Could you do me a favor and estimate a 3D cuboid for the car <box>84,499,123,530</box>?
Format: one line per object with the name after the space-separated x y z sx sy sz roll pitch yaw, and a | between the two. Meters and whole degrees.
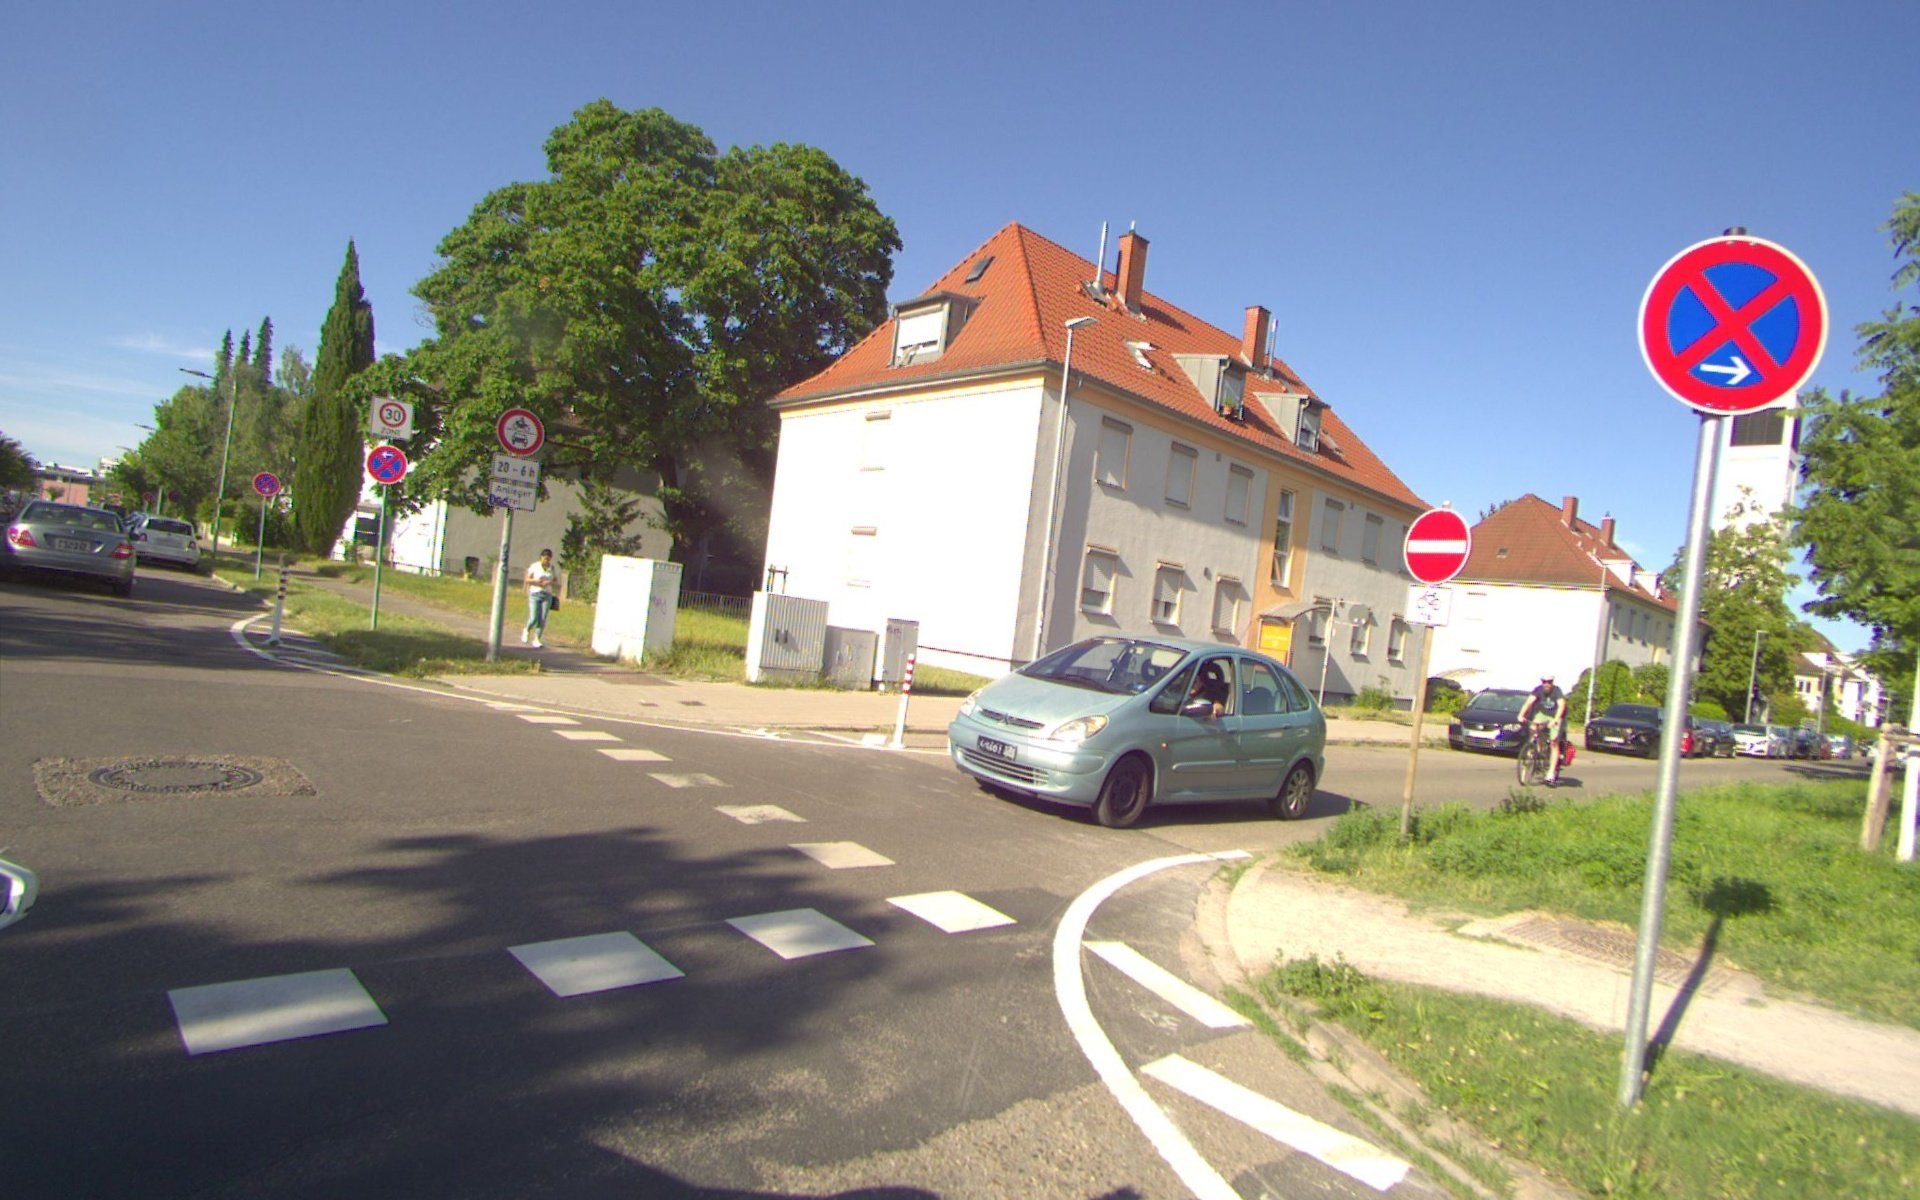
-60.745 -6.052 71.355 1.849 1.863 3.951 7 0 -43 | car

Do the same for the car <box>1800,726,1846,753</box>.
55.187 8.917 64.306 3.783 1.358 1.701 8 -1 -42 | car

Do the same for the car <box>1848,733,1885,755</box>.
71.660 11.380 79.515 3.783 1.358 1.701 8 -1 -42 | car

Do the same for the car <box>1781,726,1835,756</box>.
47.424 7.904 56.232 3.783 1.358 1.701 8 -1 -42 | car

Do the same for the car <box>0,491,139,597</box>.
-15.729 -1.015 17.650 1.830 1.458 3.954 9 -2 -41 | car

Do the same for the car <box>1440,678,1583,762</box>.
13.557 2.954 24.649 4.037 1.684 1.701 8 0 -42 | car

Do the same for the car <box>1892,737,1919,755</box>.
88.651 13.639 94.122 3.783 1.358 1.701 8 -1 -42 | car

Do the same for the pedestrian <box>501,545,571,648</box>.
-7.217 -0.059 17.110 0.762 1.631 0.825 7 0 -38 | pedestrian

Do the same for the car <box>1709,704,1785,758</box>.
35.481 5.929 45.293 4.228 2.038 1.850 8 -1 -42 | car

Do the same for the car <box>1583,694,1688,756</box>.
21.455 3.996 31.896 4.113 1.602 1.701 8 0 -42 | car

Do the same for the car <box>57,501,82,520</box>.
-88.399 -8.866 99.804 1.593 1.629 3.598 7 0 -44 | car

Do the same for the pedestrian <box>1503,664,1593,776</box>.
10.083 2.045 17.258 1.040 1.730 0.689 7 1 44 | pedestrian

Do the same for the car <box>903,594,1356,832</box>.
1.759 1.043 9.490 4.218 1.628 1.866 8 -1 -42 | car

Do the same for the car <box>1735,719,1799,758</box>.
39.115 6.719 48.743 3.783 1.516 1.701 8 0 -42 | car

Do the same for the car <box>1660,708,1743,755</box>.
28.774 5.106 39.006 4.113 1.459 1.701 8 -1 -42 | car

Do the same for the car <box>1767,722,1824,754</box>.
43.743 7.220 52.637 3.783 1.358 1.701 8 -1 -42 | car

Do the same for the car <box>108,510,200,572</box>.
-24.243 -1.782 30.223 1.728 1.498 3.678 7 0 -44 | car

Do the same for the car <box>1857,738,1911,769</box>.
49.665 8.234 54.024 3.783 1.358 1.701 8 -1 -42 | car

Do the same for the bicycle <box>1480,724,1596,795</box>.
9.878 2.681 17.129 1.040 0.949 2.750 7 -1 43 | bicycle

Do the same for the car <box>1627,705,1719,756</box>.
25.462 4.668 35.885 4.113 1.459 1.701 8 -1 -42 | car

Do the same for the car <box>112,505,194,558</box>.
-30.932 -2.646 38.527 1.988 1.629 3.950 7 0 -44 | car
